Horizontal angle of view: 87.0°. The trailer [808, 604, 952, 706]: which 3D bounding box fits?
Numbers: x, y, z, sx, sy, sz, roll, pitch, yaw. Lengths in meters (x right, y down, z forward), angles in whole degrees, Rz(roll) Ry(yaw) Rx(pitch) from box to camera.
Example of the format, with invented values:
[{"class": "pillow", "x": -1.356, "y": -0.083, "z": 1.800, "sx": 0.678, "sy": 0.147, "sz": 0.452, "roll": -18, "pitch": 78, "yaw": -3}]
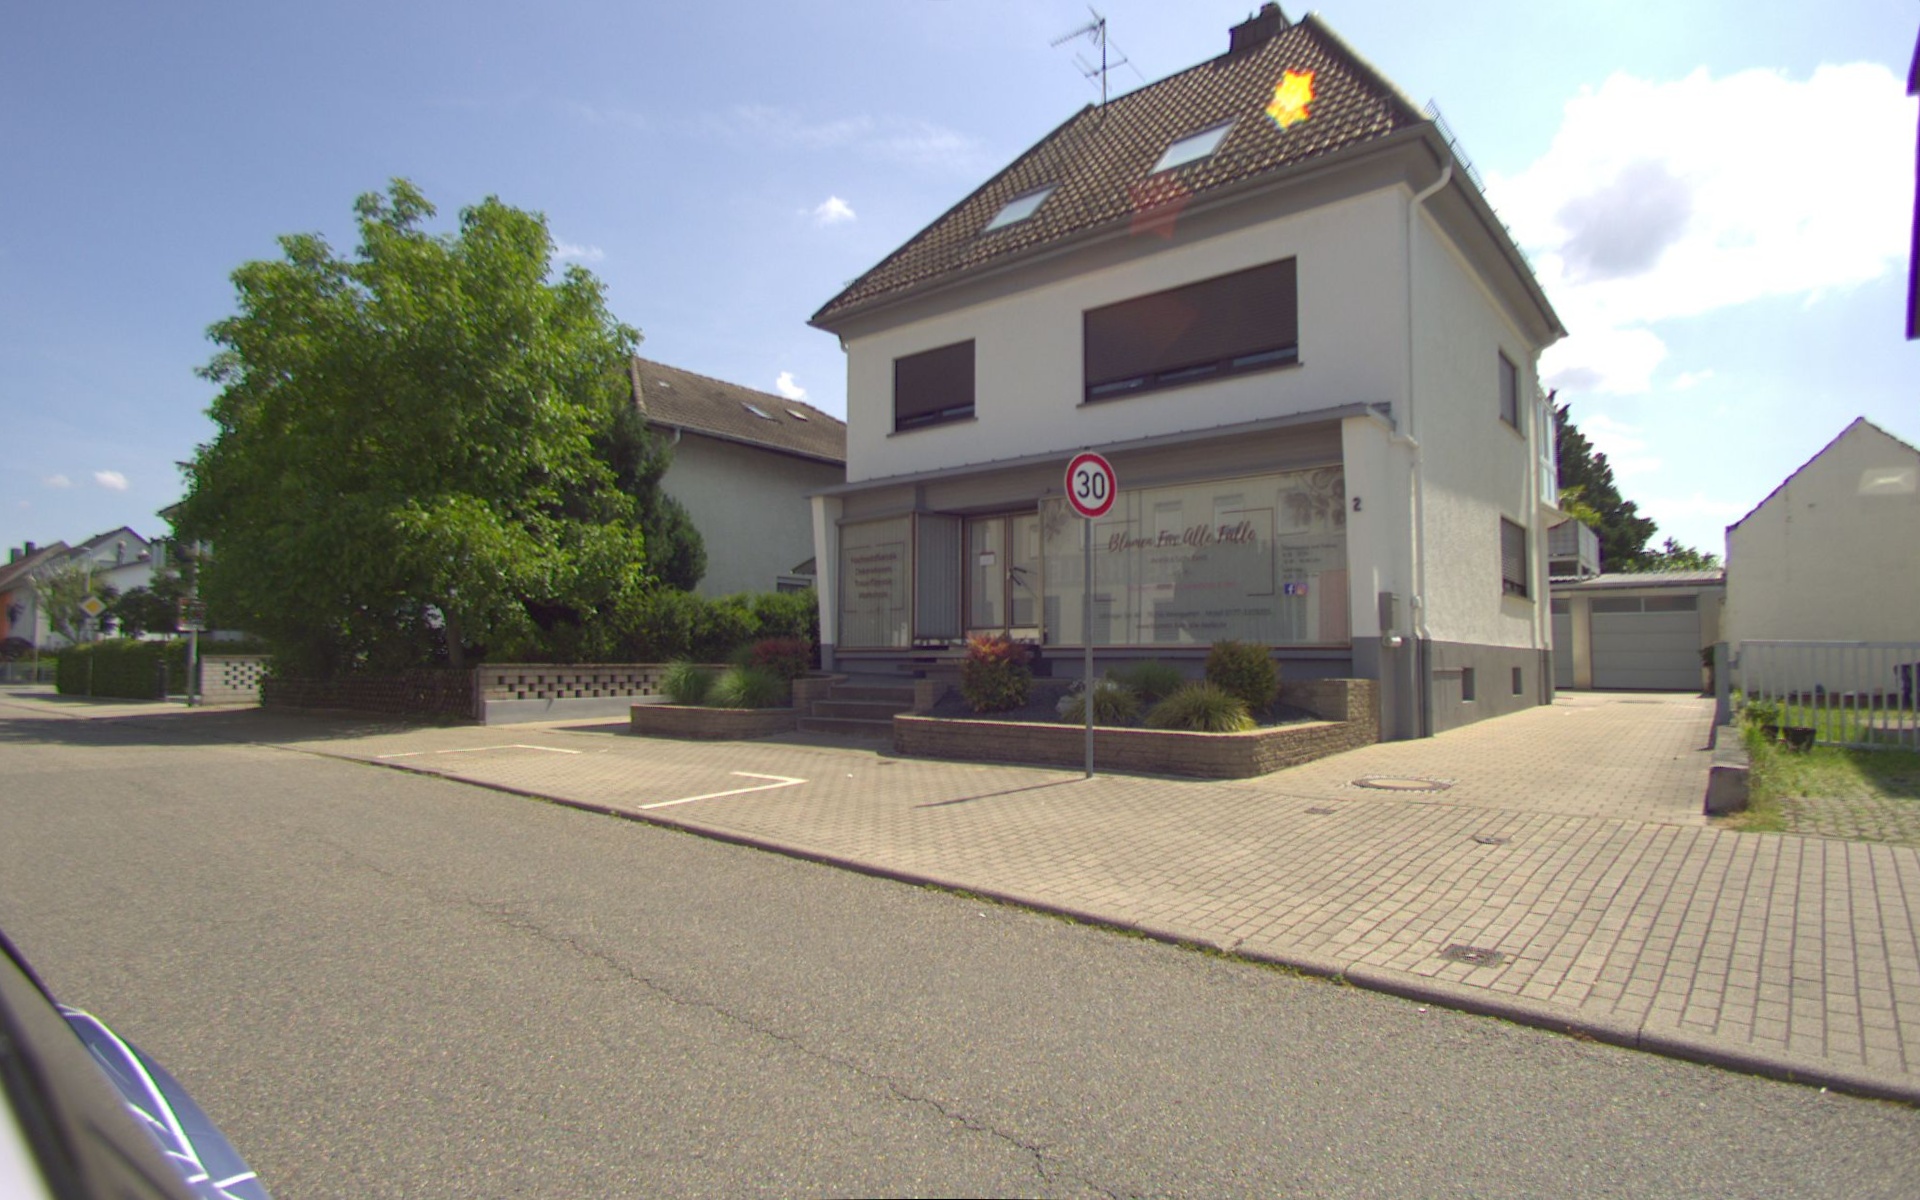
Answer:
[{"class": "trailer", "x": -1.745, "y": 1.209, "z": 22.852, "sx": 1.670, "sy": 2.129, "sz": 3.141, "roll": -2, "pitch": -3, "yaw": 33}]
